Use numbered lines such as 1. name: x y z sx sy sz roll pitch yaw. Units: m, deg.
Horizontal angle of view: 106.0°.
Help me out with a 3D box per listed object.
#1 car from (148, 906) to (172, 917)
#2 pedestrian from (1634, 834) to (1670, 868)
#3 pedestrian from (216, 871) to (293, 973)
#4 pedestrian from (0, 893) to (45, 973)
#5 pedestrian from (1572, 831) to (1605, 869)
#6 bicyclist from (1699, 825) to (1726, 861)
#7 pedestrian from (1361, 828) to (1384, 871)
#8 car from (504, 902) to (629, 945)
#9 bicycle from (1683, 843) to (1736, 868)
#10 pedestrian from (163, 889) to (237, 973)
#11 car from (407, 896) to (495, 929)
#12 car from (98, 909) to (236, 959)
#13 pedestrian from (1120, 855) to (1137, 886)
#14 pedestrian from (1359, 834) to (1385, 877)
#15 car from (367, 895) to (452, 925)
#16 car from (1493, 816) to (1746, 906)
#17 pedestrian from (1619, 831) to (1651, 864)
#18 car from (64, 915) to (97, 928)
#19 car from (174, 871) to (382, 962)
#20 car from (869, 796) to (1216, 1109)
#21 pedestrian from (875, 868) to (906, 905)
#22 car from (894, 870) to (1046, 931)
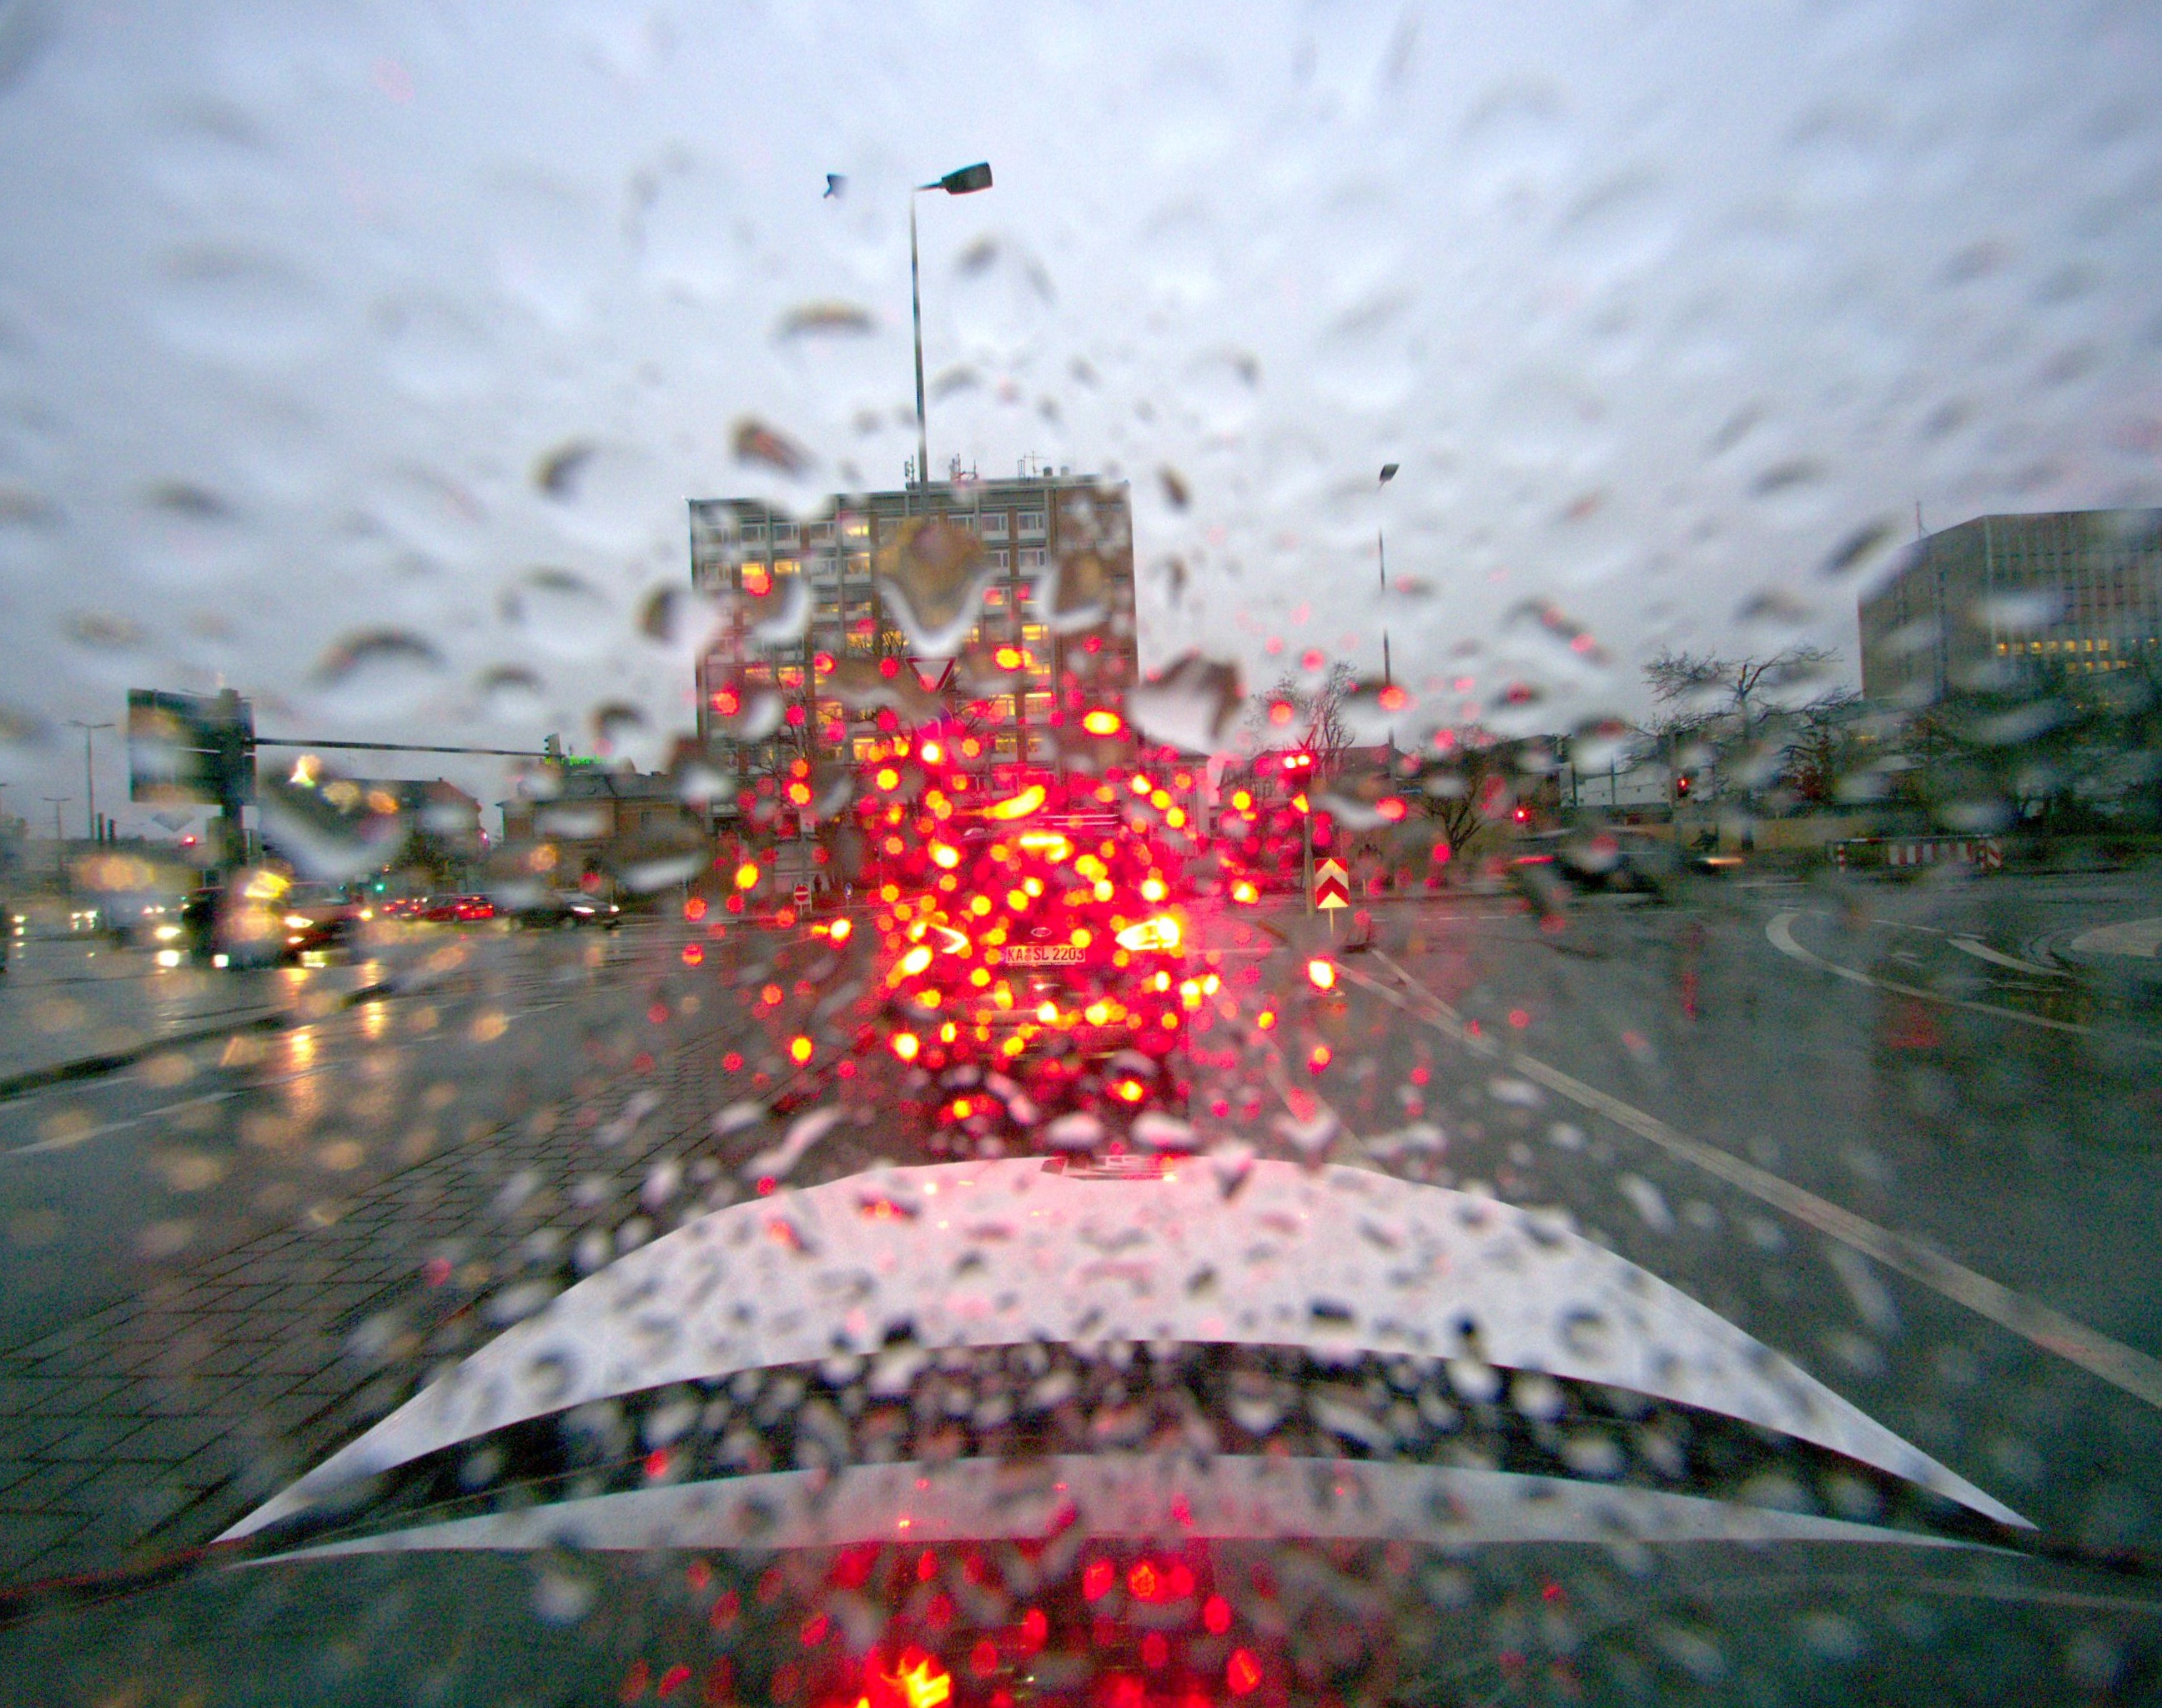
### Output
1. car: -149.189 9.281 131.913 1.747 1.509 3.954 -3 0 -38
2. pedestrian: 27.389 -0.143 39.081 0.921 1.533 1.043 -3 0 2
3. pedestrian: -17.471 1.414 17.245 0.996 2.021 0.792 -3 0 -39
4. pedestrian: -25.735 1.905 19.591 0.669 1.838 0.738 -3 0 16
5. pedestrian: 24.967 -0.183 40.075 0.992 1.799 0.920 -3 0 2
6. bicyclist: 29.206 -0.504 37.676 0.682 1.599 0.660 -3 0 3
7. pedestrian: 14.914 -0.247 41.664 0.887 2.113 0.889 -3 0 13
8. car: -18.280 2.468 28.956 3.725 1.302 1.709 -3 -1 17
9. bicycle: 29.088 0.059 37.686 1.875 1.048 0.660 -3 0 3
10. pedestrian: -19.540 1.697 18.074 0.653 1.755 0.856 -3 0 18
11. car: -33.326 3.043 43.077 3.954 1.568 1.836 -1 -1 20
12. car: -34.478 3.009 30.740 4.092 1.582 1.849 -3 -1 16
13. pedestrian: 2.639 0.912 44.873 0.754 1.628 0.559 -3 0 14
14. pedestrian: 14.547 0.074 40.724 0.890 2.113 0.886 -3 0 2
15. car: -38.338 3.161 46.584 1.496 1.461 3.453 -1 -1 31
16. car: 11.850 0.175 18.209 4.282 1.689 1.846 -3 -1 10
17. pedestrian: 27.264 -0.322 40.072 0.889 1.533 0.886 -3 0 2
18. car: -136.520 9.222 111.179 1.746 1.509 3.957 -3 0 -34
19. car: -21.181 1.648 21.499 4.591 2.070 1.939 -4 0 18
20. car: -0.161 0.583 6.688 1.986 1.789 4.001 0 -1 2
21. pedestrian: -10.096 1.708 43.192 0.992 1.842 1.146 -3 2 25
22. car: -3.338 1.404 24.749 4.094 1.582 1.848 -3 -1 14
